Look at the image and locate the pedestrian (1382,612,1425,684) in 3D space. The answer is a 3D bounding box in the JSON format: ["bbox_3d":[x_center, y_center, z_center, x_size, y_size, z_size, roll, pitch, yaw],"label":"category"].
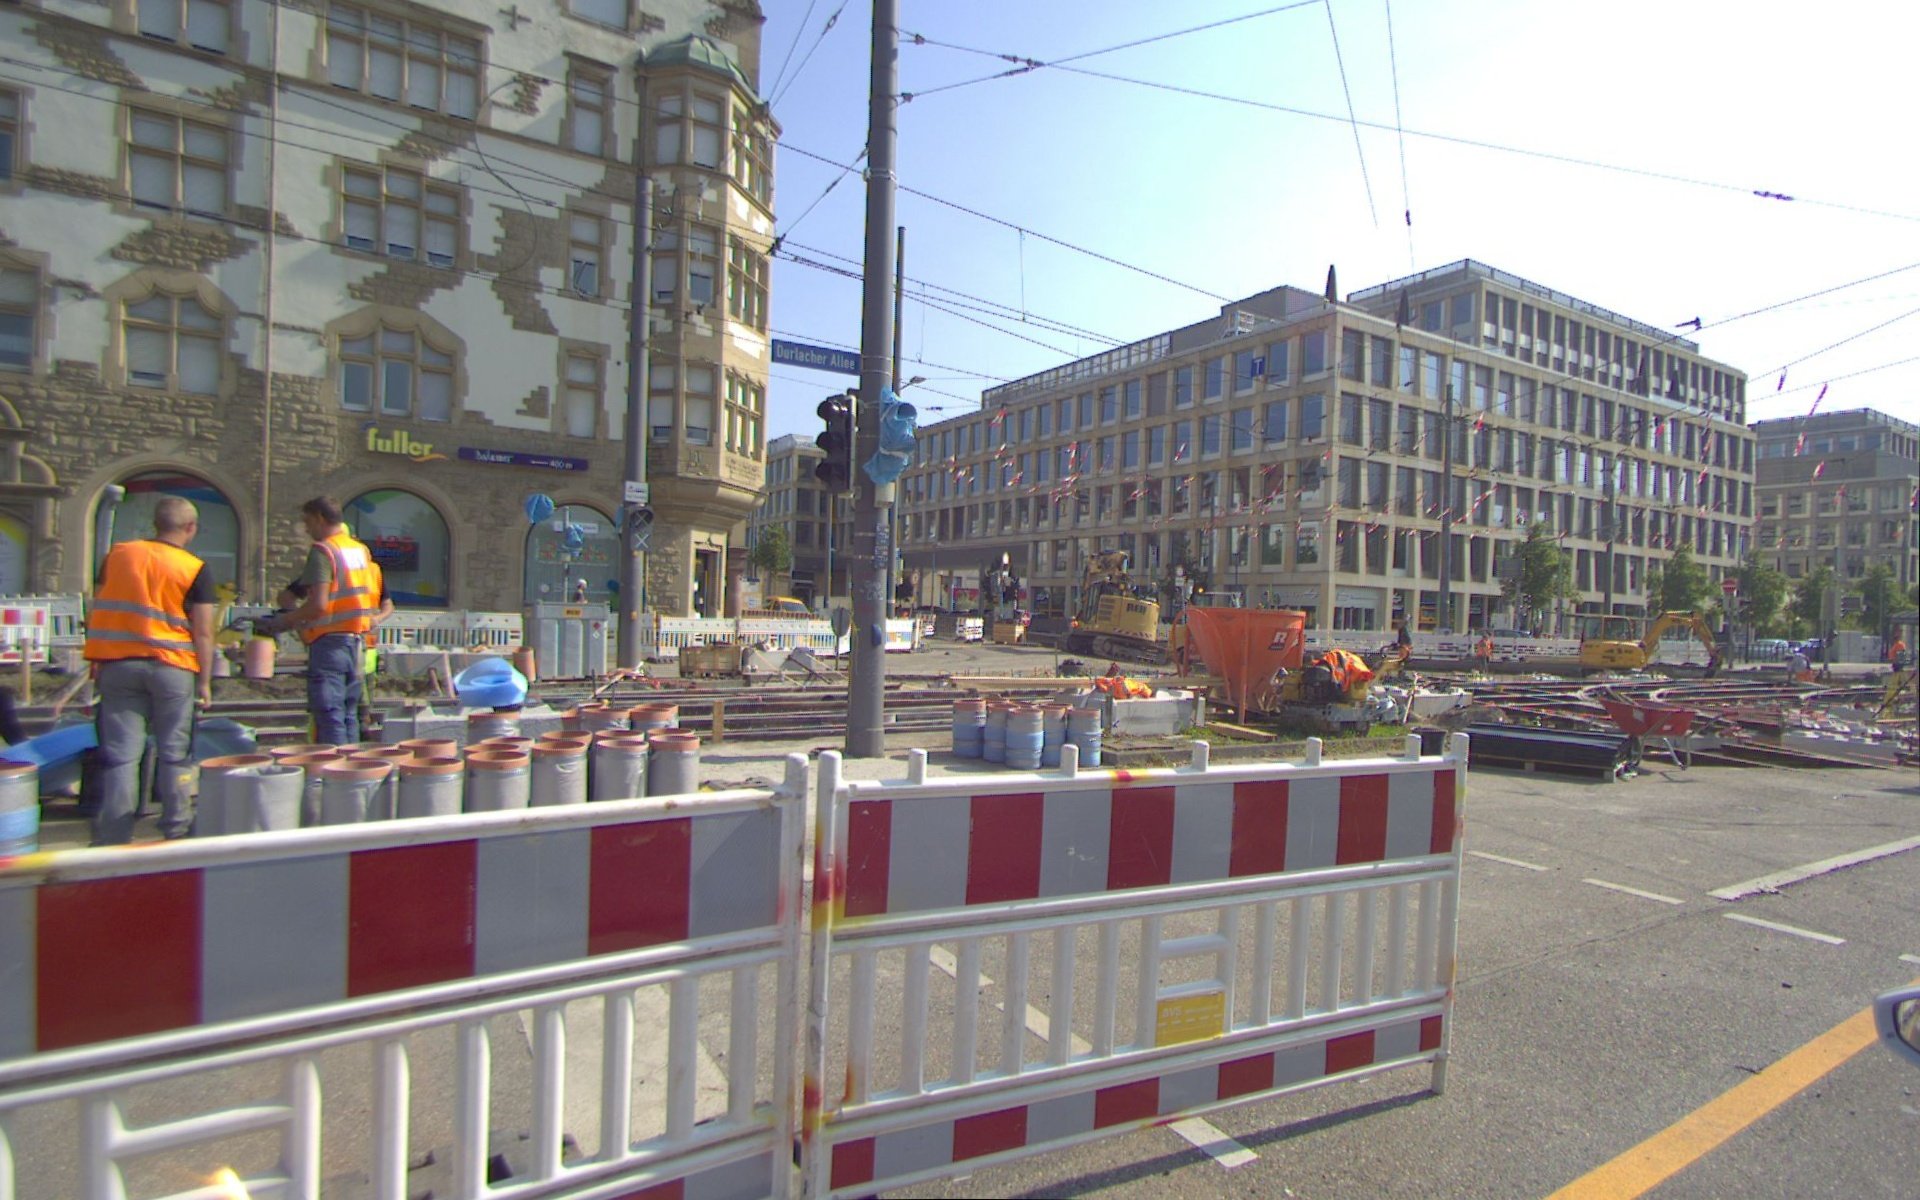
[{"bbox_3d":[12.226,1.326,27.702,0.713,1.938,0.784,2,-1,-23],"label":"pedestrian"}]

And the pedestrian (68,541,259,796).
[{"bbox_3d":[-6.120,0.503,7.751,0.813,1.833,0.755,2,-1,14],"label":"pedestrian"}]

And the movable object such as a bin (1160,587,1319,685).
[{"bbox_3d":[9.113,1.136,32.665,4.722,2.872,2.449,2,-1,21],"label":"movable object such as a bin"}]

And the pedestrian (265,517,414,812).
[{"bbox_3d":[-4.242,0.428,6.929,0.698,1.895,0.717,2,-1,-23],"label":"pedestrian"}]

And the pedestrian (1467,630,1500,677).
[{"bbox_3d":[21.426,2.181,41.118,0.804,1.889,0.914,2,0,-42],"label":"pedestrian"}]

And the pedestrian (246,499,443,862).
[{"bbox_3d":[-3.711,0.455,6.089,0.683,2.042,0.674,1,-1,22],"label":"pedestrian"}]

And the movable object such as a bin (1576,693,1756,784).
[{"bbox_3d":[7.310,1.411,10.515,0.703,0.723,1.724,2,-1,2],"label":"movable object such as a bin"}]

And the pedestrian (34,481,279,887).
[{"bbox_3d":[-4.202,0.404,5.283,0.700,1.952,0.685,1,-1,22],"label":"pedestrian"}]

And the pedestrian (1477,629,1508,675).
[{"bbox_3d":[22.417,2.188,42.283,0.799,1.889,0.751,2,0,-26],"label":"pedestrian"}]

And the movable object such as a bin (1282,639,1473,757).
[{"bbox_3d":[4.857,1.103,11.645,2.187,1.227,0.882,3,-1,-30],"label":"movable object such as a bin"}]

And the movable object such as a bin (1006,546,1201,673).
[{"bbox_3d":[5.548,0.435,40.552,4.892,4.404,7.352,3,-1,-18],"label":"movable object such as a bin"}]

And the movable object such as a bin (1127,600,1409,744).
[{"bbox_3d":[3.879,0.857,12.582,3.248,1.579,1.592,3,-1,-30],"label":"movable object such as a bin"}]

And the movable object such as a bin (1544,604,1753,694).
[{"bbox_3d":[26.907,1.927,39.140,8.384,2.997,3.593,4,0,-32],"label":"movable object such as a bin"}]

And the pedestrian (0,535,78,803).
[{"bbox_3d":[-7.081,0.464,7.138,0.870,1.841,0.828,2,-1,-15],"label":"pedestrian"}]
